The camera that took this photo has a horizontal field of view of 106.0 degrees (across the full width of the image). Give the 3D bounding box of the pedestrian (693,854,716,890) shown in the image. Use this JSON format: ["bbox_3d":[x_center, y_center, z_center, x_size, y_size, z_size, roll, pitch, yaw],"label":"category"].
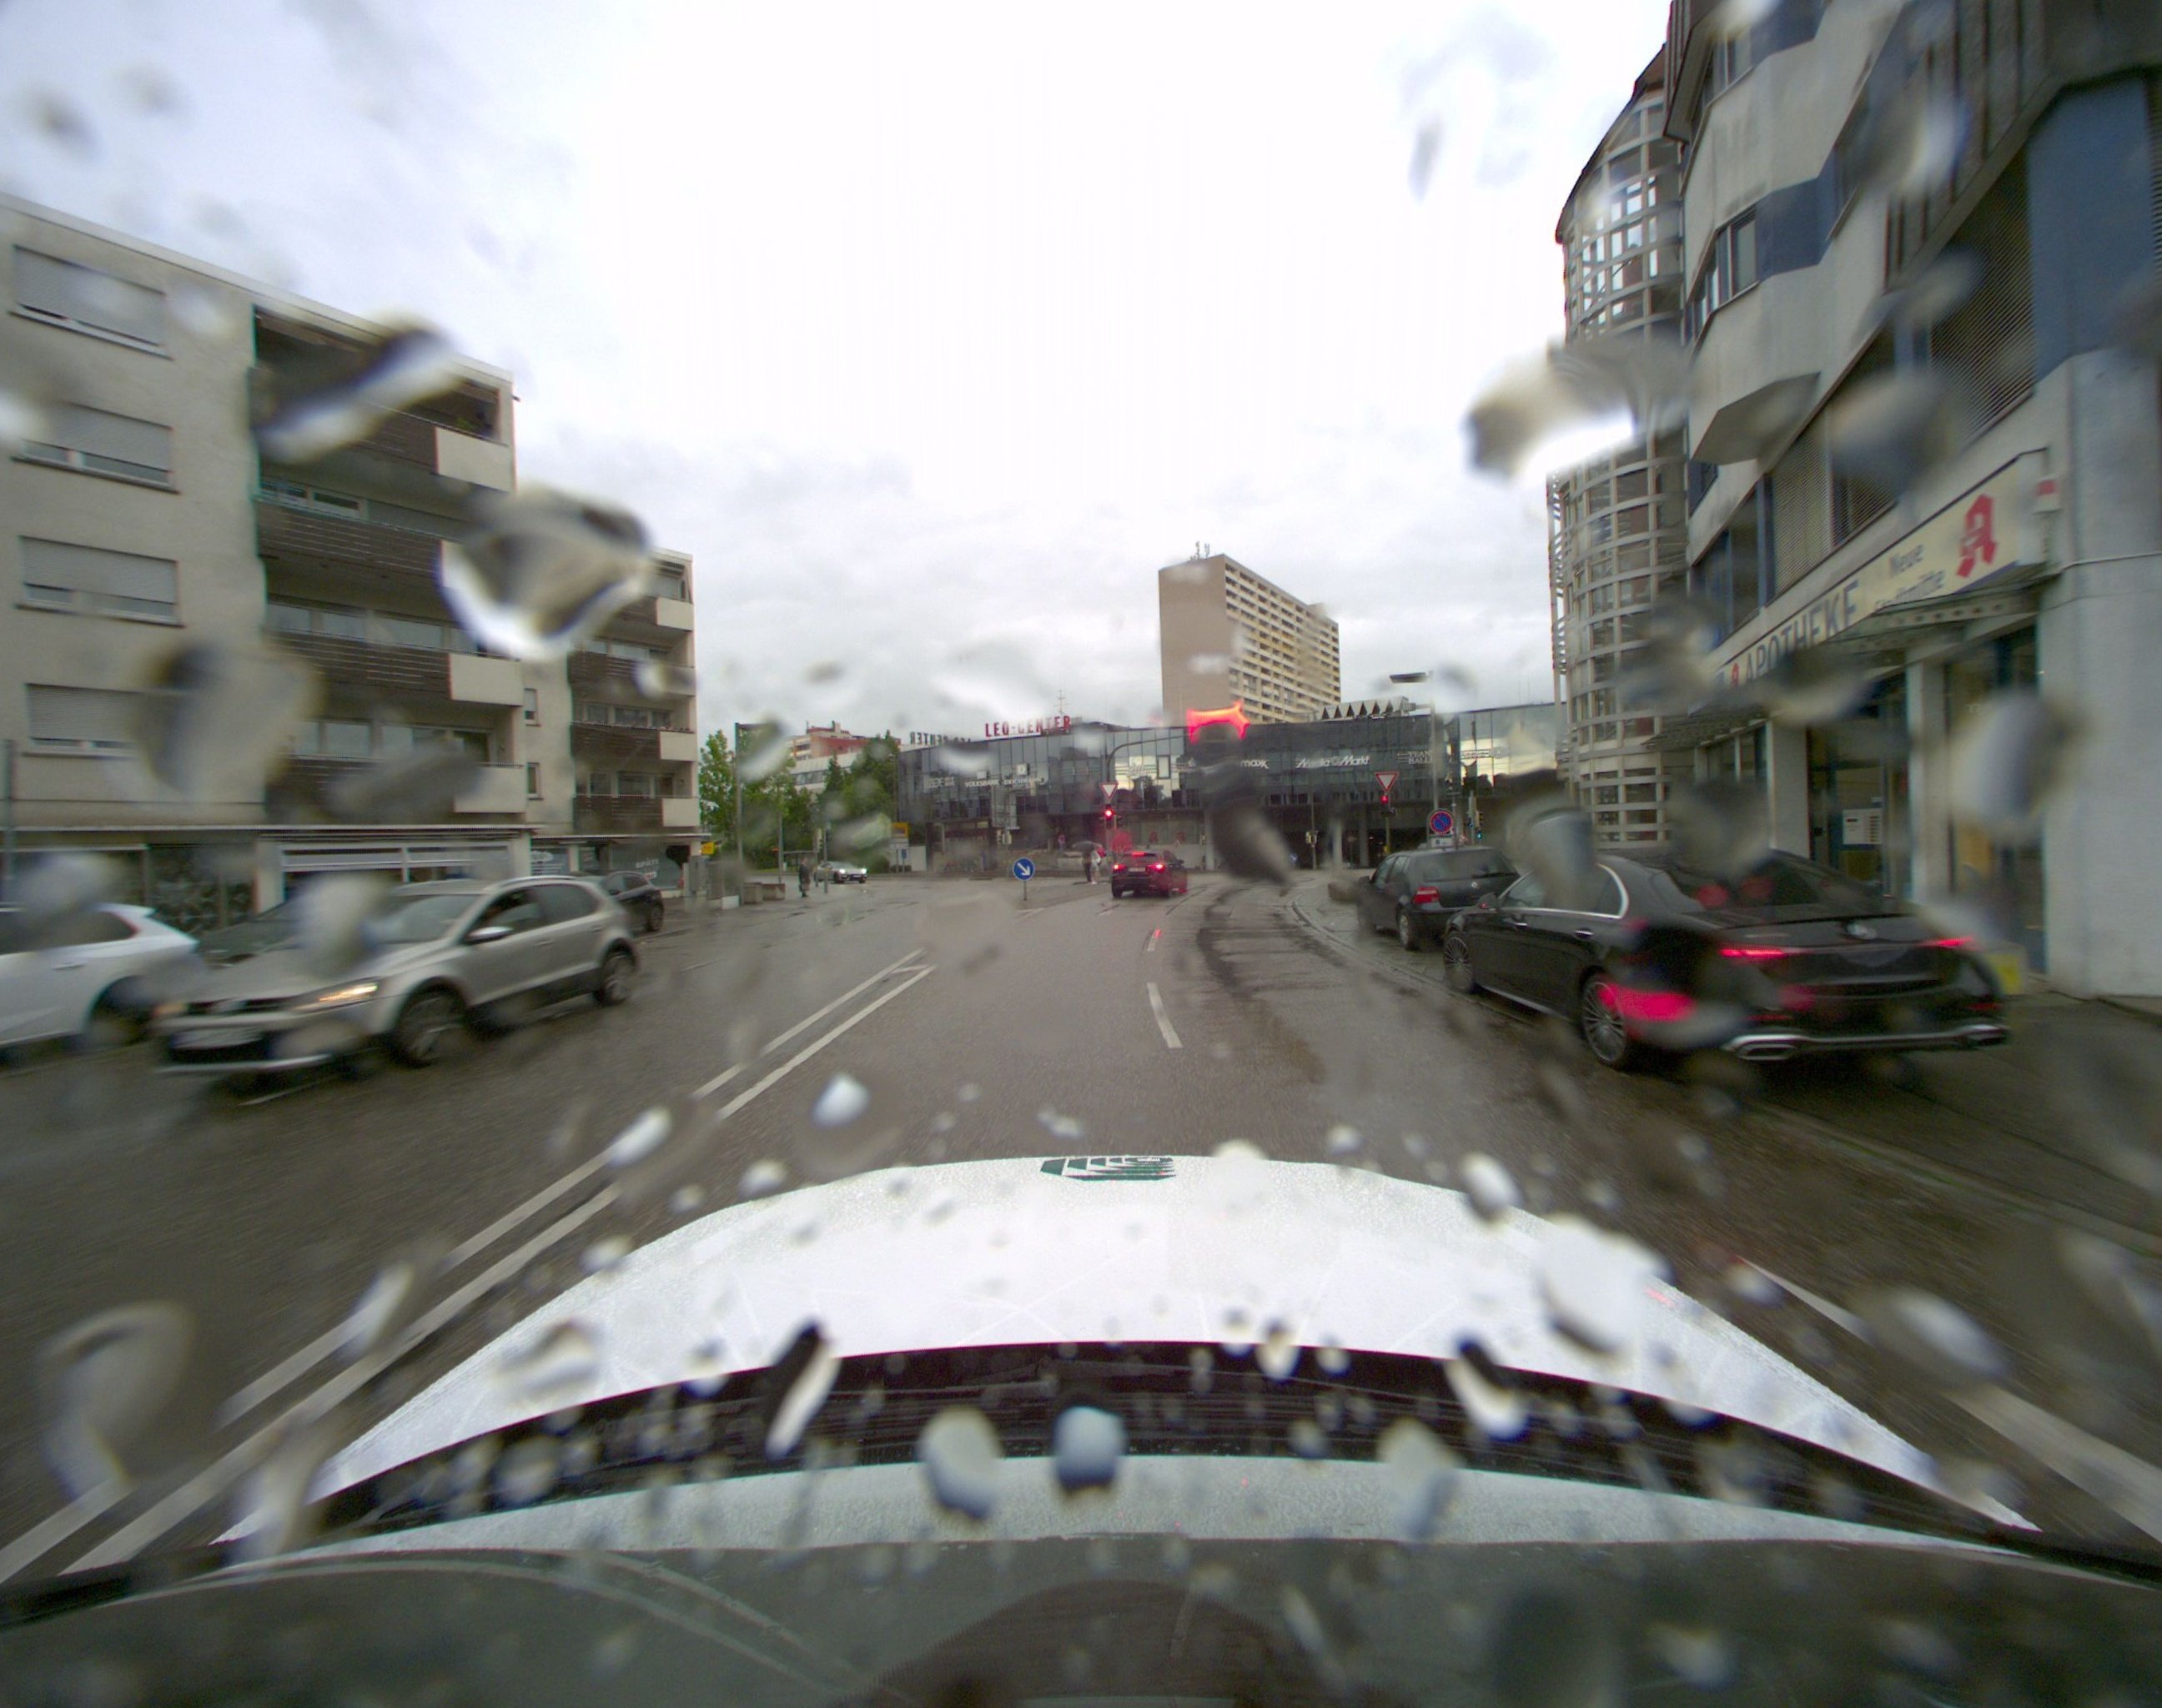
[{"bbox_3d":[-21.567,1.042,46.627,1.032,2.013,0.954,1,1,-33],"label":"pedestrian"}]

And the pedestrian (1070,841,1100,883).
[{"bbox_3d":[0.167,0.315,32.577,0.914,1.659,0.748,1,1,-31],"label":"pedestrian"}]

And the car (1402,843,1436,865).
[{"bbox_3d":[28.405,-0.026,68.380,1.974,1.717,4.026,-2,0,32],"label":"car"}]

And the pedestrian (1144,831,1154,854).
[{"bbox_3d":[6.217,-1.070,74.304,0.783,2.013,0.672,-2,0,7],"label":"pedestrian"}]

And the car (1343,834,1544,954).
[{"bbox_3d":[5.544,0.518,13.037,1.689,1.486,4.007,-5,0,6],"label":"car"}]

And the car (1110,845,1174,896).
[{"bbox_3d":[2.021,0.458,25.924,1.795,1.419,4.008,-2,0,7],"label":"car"}]

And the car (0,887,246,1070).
[{"bbox_3d":[-10.136,1.150,6.742,1.689,1.464,4.680,-2,1,-2],"label":"car"}]

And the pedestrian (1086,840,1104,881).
[{"bbox_3d":[0.586,0.251,33.497,0.609,1.659,0.671,2,1,-8],"label":"pedestrian"}]

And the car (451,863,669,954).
[{"bbox_3d":[-10.710,1.034,17.205,1.930,1.541,4.269,-2,0,-2],"label":"car"}]

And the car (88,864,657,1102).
[{"bbox_3d":[-6.042,0.946,7.713,1.818,1.439,3.843,-4,1,2],"label":"car"}]

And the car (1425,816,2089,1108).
[{"bbox_3d":[4.574,0.611,6.700,1.983,1.534,4.656,-1,-1,7],"label":"car"}]

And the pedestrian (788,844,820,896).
[{"bbox_3d":[-11.057,0.616,32.543,0.742,2.013,0.925,2,0,18],"label":"pedestrian"}]

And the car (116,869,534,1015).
[{"bbox_3d":[-10.422,1.076,11.870,1.930,1.541,4.517,-2,0,-2],"label":"car"}]

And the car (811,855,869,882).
[{"bbox_3d":[-15.679,0.910,52.865,2.010,1.511,4.382,1,2,-40],"label":"car"}]

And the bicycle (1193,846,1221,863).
[{"bbox_3d":[11.466,0.030,74.132,2.420,1.464,0.655,-2,2,-5],"label":"bicycle"}]
